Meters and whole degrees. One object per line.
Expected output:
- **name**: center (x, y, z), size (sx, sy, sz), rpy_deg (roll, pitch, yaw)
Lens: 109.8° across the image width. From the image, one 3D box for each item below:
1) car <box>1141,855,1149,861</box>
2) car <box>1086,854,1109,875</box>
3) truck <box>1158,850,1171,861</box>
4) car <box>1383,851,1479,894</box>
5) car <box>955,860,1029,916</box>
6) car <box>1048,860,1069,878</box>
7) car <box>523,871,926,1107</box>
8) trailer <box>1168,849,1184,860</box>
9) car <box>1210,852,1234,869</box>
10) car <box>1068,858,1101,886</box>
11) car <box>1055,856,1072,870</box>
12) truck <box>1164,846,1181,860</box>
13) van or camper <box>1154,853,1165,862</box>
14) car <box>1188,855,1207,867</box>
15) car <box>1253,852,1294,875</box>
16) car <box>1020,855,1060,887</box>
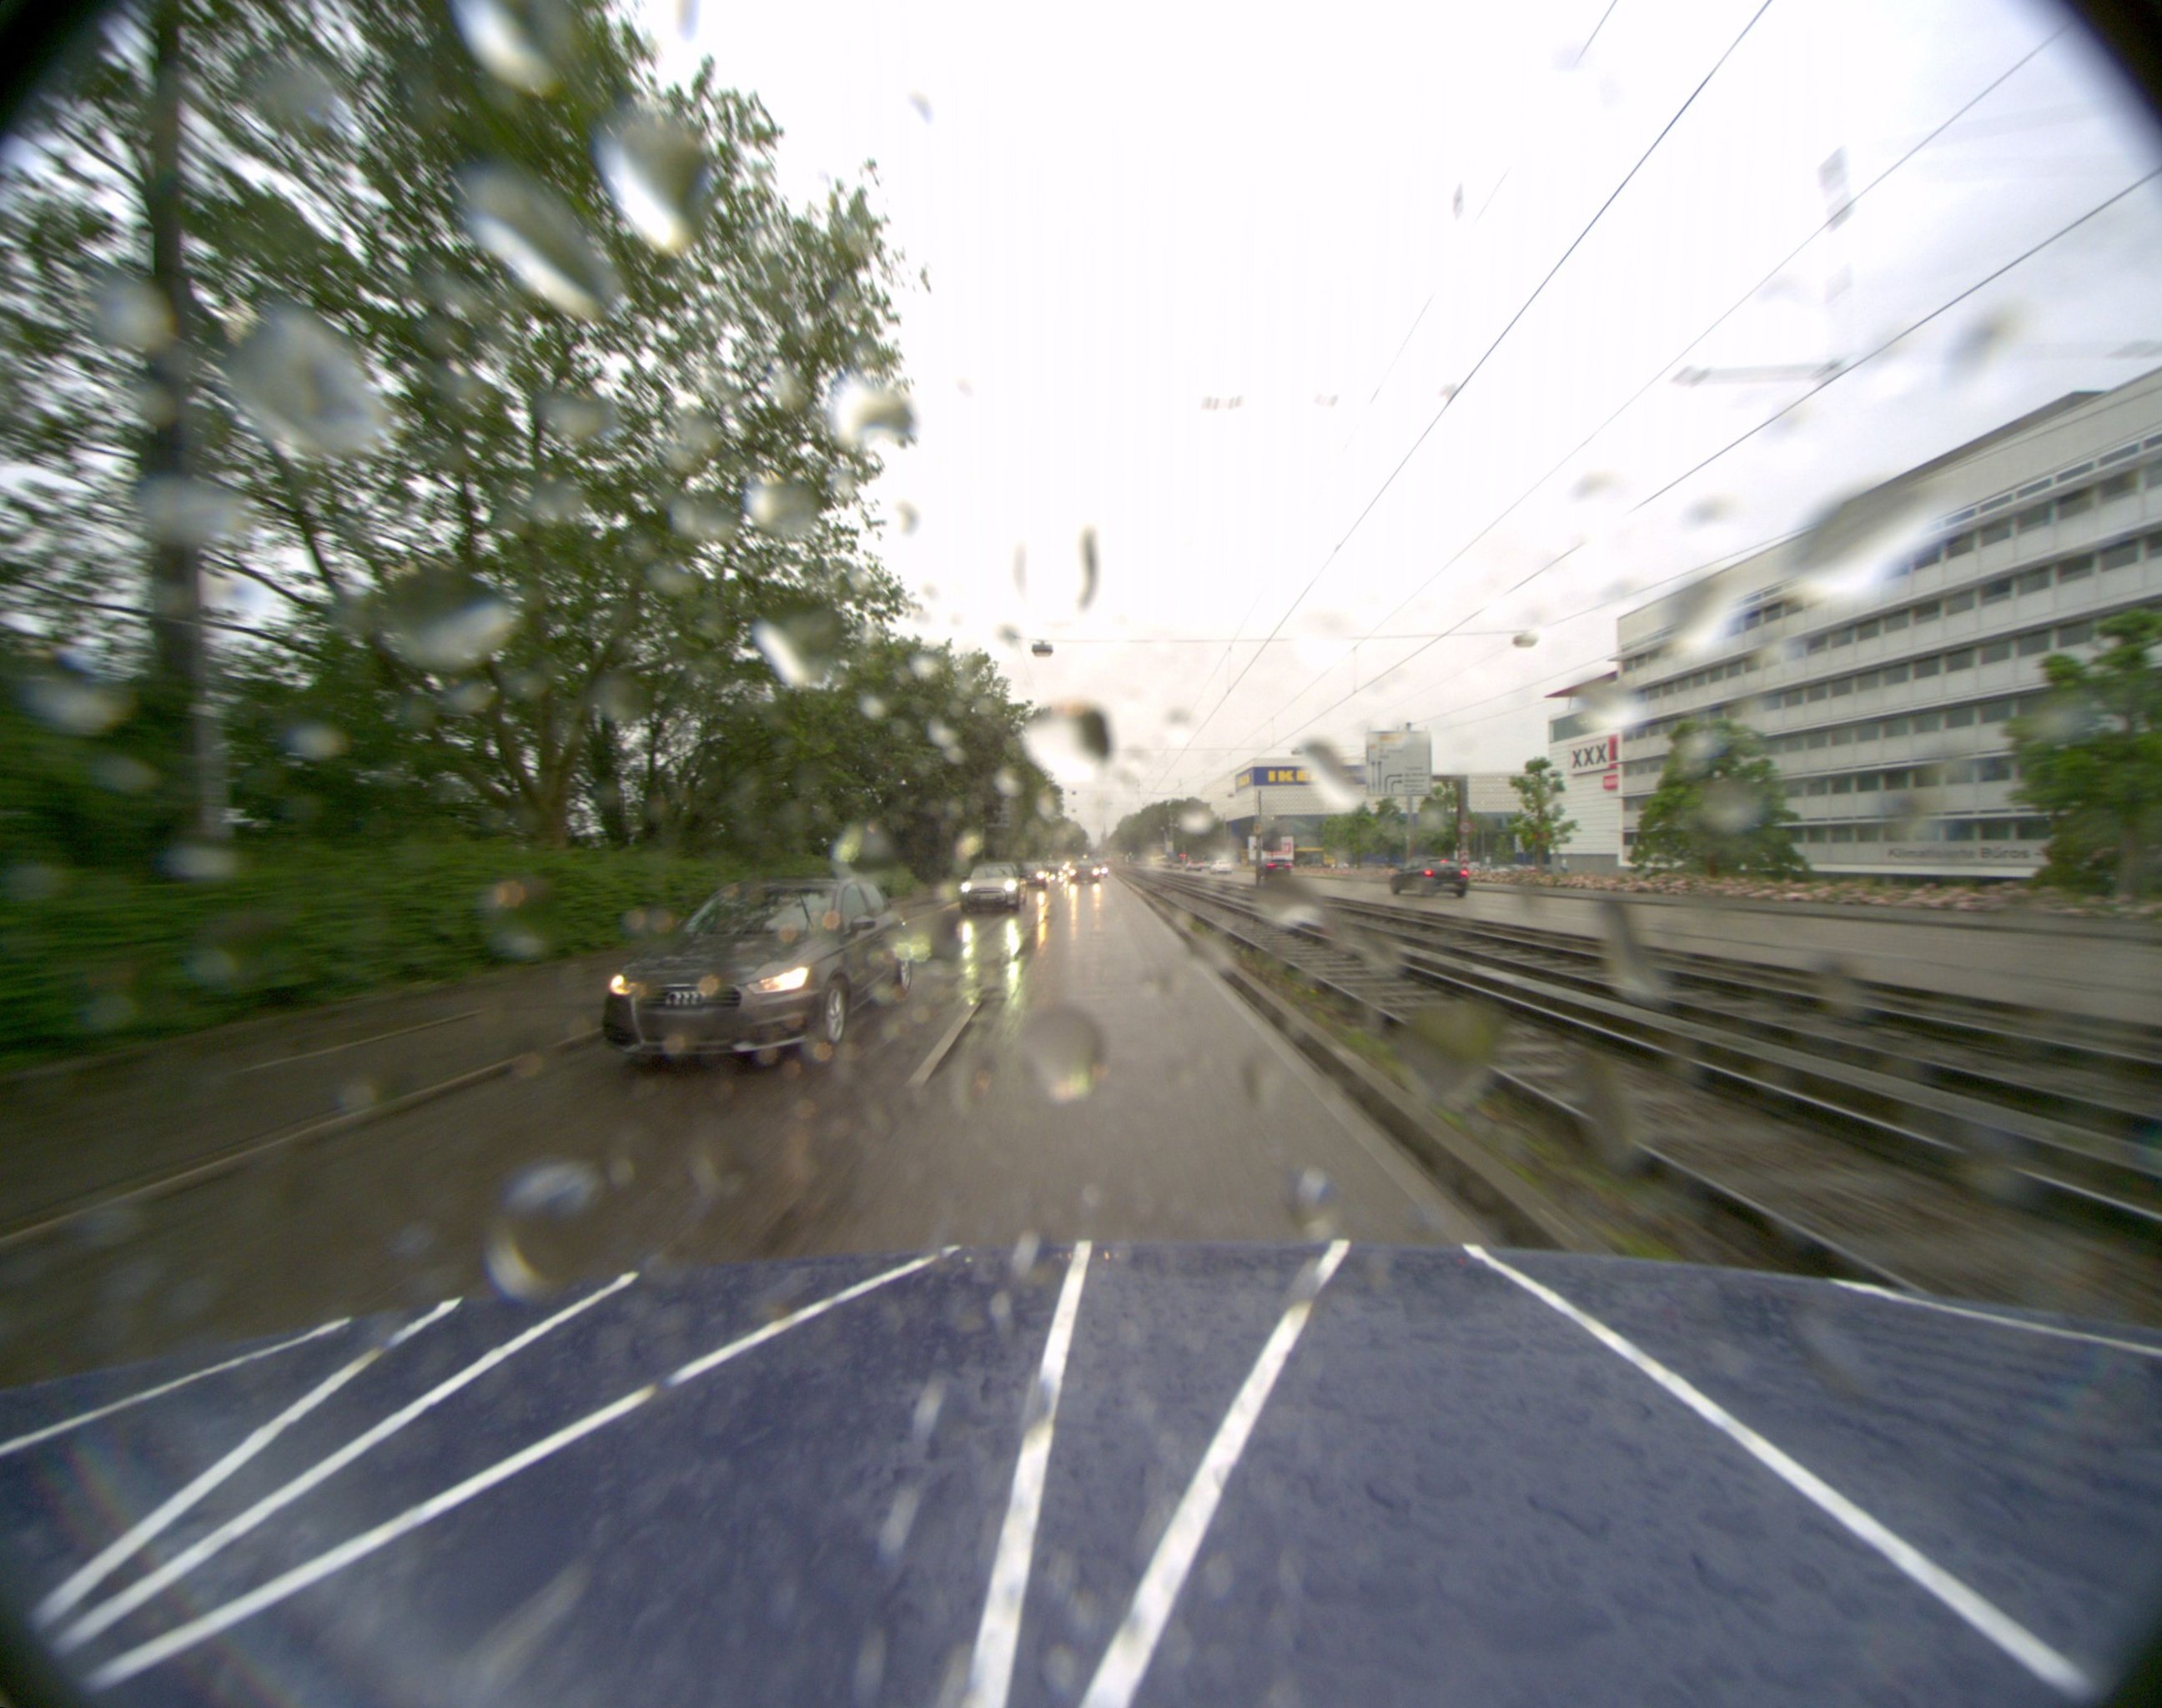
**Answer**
- **car**: center (17.094, 1.034, 202.605), size (1.823, 1.613, 4.536), rpy_deg (-1, 0, 1)
- **car**: center (1.305, 0.873, 60.881), size (1.715, 1.515, 4.044), rpy_deg (-3, -1, 0)
- **truck**: center (18.128, 0.327, 165.923), size (2.232, 2.447, 6.067), rpy_deg (1, 0, 1)
- **car**: center (13.830, 0.686, 30.286), size (1.998, 1.608, 4.254), rpy_deg (-1, 0, 2)
- **car**: center (-2.601, 0.963, 23.082), size (1.796, 1.406, 3.853), rpy_deg (-2, 1, -1)
- **car**: center (-2.071, 1.389, 70.245), size (1.715, 1.475, 4.044), rpy_deg (-3, -1, 0)
- **car**: center (-2.882, 0.983, 7.277), size (1.973, 1.519, 3.991), rpy_deg (-2, -1, -1)
- **trailer**: center (16.395, 0.111, 131.019), size (2.125, 1.782, 3.835), rpy_deg (-3, 0, -2)
- **car**: center (15.174, 0.685, 81.956), size (1.776, 1.673, 4.689), rpy_deg (-1, 0, 0)
- **car**: center (0.194, 1.122, 47.802), size (1.876, 1.573, 4.043), rpy_deg (-3, -1, -1)
- **car**: center (-1.989, 1.057, 87.787), size (1.715, 1.515, 4.044), rpy_deg (-3, -1, 0)
- **truck**: center (16.392, -0.198, 136.586), size (2.441, 2.443, 7.219), rpy_deg (0, 0, 2)
- **van or camper**: center (19.230, 0.873, 185.384), size (2.310, 2.002, 5.686), rpy_deg (0, 0, 2)
- **car**: center (16.025, 0.938, 104.773), size (1.998, 1.574, 4.767), rpy_deg (0, 0, 2)
- **car**: center (14.754, 0.703, 58.449), size (1.998, 1.711, 4.882), rpy_deg (0, 0, 1)
- **car**: center (-2.025, 0.864, 38.508), size (1.776, 1.453, 4.092), rpy_deg (-3, -1, -1)
